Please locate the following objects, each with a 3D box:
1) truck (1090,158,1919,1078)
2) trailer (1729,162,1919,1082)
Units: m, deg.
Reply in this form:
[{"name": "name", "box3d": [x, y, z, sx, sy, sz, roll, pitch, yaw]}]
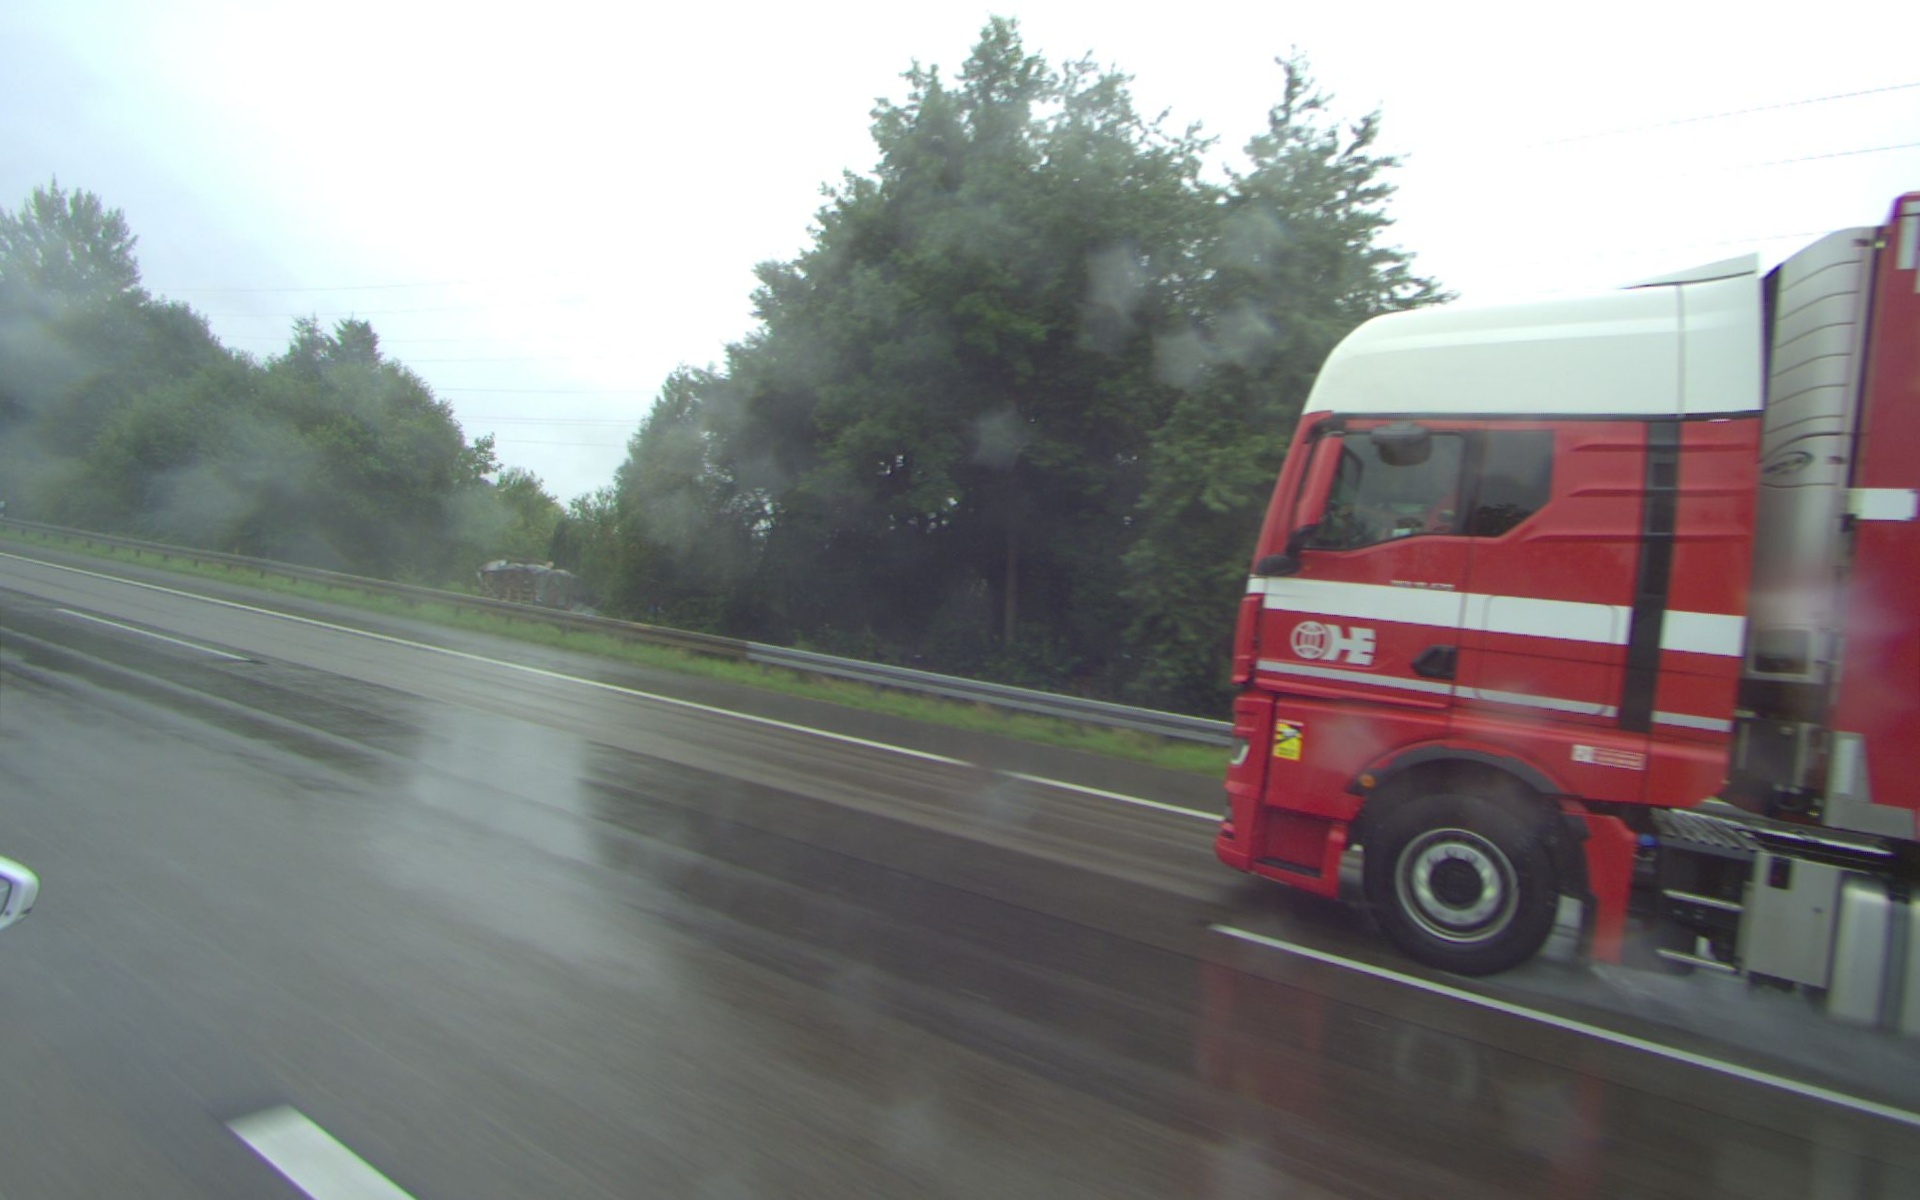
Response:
[{"name": "truck", "box3d": [3.986, 0.058, 6.059, 5.344, 4.002, 2.624, 7, -1, 32]}, {"name": "trailer", "box3d": [10.353, 0.801, 2.047, 13.405, 4.002, 2.624, 7, -1, 32]}]
